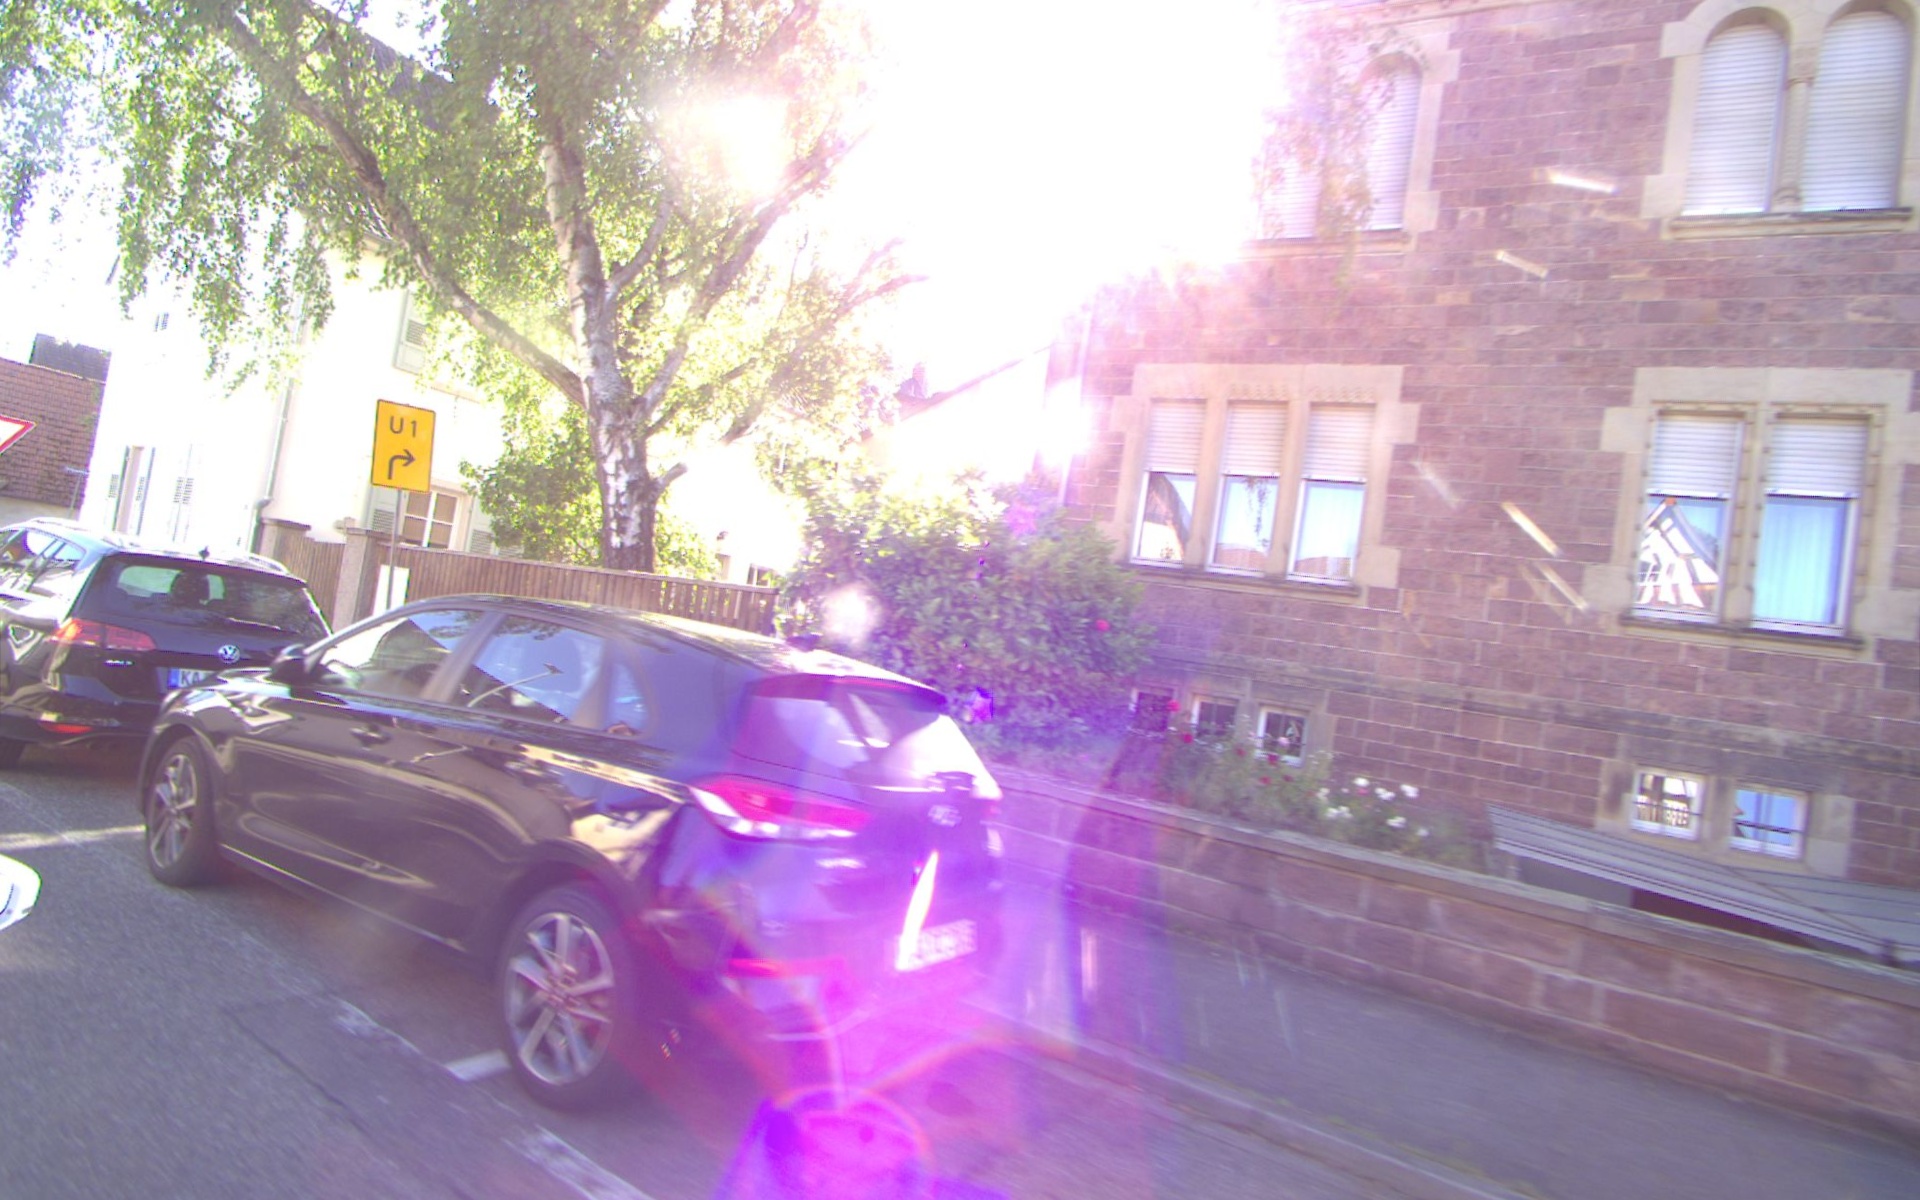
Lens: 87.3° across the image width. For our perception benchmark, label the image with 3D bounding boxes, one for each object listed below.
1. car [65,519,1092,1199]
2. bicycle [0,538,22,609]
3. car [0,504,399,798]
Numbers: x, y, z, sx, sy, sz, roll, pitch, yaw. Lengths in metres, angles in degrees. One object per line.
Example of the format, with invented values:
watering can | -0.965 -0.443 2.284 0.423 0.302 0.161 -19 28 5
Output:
car | -1.811 0.695 4.349 4.214 1.451 1.813 7 -4 32
bicycle | -16.018 -0.512 16.417 1.858 1.092 0.436 7 -2 31
car | -5.978 0.200 7.042 4.219 1.451 1.811 7 -4 36
